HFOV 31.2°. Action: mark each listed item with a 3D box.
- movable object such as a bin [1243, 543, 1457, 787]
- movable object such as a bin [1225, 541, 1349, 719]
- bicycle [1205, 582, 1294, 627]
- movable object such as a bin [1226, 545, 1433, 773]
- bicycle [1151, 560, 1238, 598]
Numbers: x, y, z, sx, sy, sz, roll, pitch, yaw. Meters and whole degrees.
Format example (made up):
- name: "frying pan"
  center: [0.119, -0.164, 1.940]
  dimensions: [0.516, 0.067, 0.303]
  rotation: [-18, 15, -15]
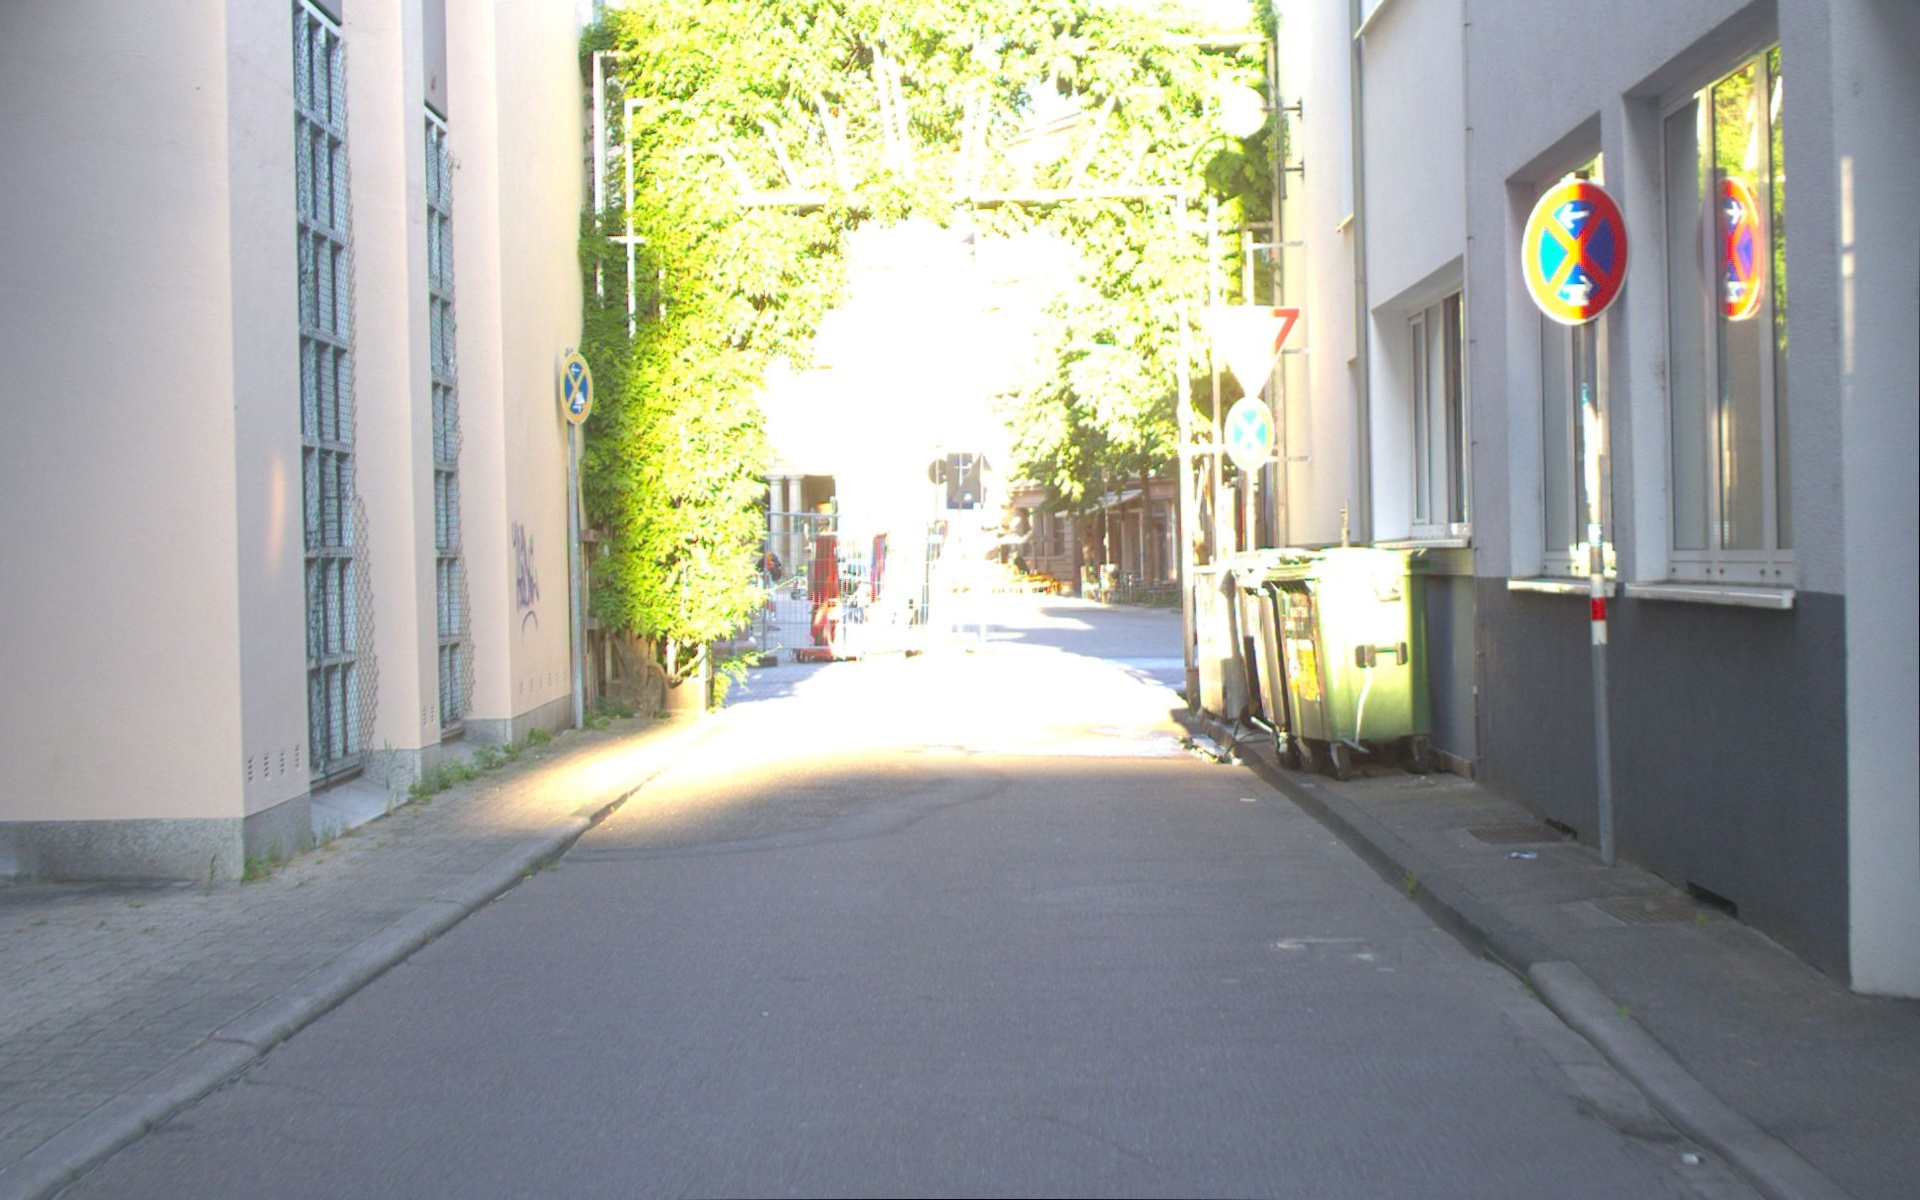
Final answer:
- name: "movable object such as a bin"
  center: [2.318, 0.370, 20.620]
  dimensions: [0.937, 1.362, 1.342]
  rotation: [-3, 1, -6]
- name: "movable object such as a bin"
  center: [2.523, 0.216, 26.673]
  dimensions: [0.836, 1.300, 1.290]
  rotation: [-3, 1, 3]
- name: "bicycle"
  center: [7.284, 0.120, 86.520]
  dimensions: [2.154, 1.057, 0.590]
  rotation: [-2, 0, 13]
- name: "movable object such as a bin"
  center: [2.347, 0.357, 22.025]
  dimensions: [1.064, 1.362, 1.342]
  rotation: [-3, 1, -2]
- name: "bicycle"
  center: [6.121, -0.546, 89.664]
  dimensions: [2.152, 0.922, 0.591]
  rotation: [-2, 0, -8]
